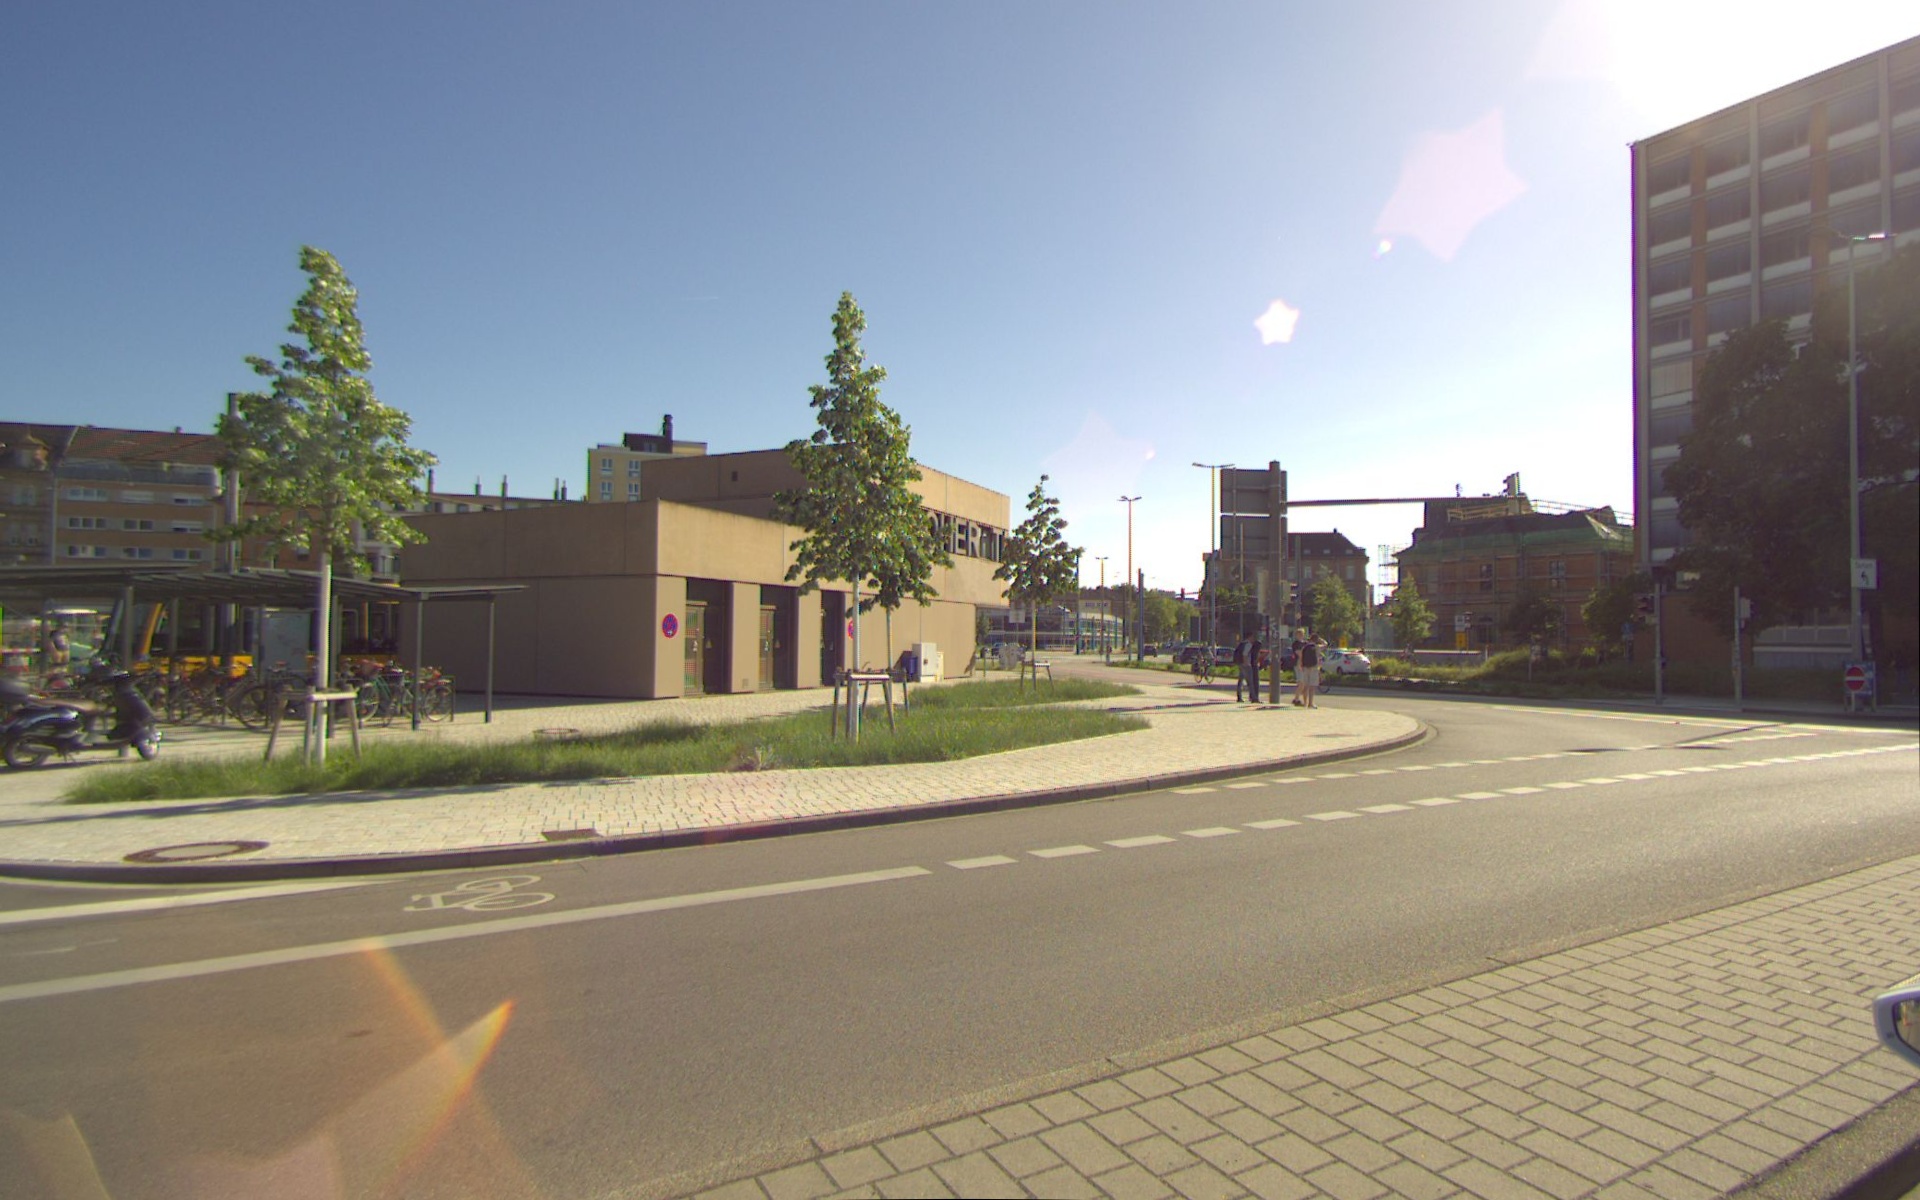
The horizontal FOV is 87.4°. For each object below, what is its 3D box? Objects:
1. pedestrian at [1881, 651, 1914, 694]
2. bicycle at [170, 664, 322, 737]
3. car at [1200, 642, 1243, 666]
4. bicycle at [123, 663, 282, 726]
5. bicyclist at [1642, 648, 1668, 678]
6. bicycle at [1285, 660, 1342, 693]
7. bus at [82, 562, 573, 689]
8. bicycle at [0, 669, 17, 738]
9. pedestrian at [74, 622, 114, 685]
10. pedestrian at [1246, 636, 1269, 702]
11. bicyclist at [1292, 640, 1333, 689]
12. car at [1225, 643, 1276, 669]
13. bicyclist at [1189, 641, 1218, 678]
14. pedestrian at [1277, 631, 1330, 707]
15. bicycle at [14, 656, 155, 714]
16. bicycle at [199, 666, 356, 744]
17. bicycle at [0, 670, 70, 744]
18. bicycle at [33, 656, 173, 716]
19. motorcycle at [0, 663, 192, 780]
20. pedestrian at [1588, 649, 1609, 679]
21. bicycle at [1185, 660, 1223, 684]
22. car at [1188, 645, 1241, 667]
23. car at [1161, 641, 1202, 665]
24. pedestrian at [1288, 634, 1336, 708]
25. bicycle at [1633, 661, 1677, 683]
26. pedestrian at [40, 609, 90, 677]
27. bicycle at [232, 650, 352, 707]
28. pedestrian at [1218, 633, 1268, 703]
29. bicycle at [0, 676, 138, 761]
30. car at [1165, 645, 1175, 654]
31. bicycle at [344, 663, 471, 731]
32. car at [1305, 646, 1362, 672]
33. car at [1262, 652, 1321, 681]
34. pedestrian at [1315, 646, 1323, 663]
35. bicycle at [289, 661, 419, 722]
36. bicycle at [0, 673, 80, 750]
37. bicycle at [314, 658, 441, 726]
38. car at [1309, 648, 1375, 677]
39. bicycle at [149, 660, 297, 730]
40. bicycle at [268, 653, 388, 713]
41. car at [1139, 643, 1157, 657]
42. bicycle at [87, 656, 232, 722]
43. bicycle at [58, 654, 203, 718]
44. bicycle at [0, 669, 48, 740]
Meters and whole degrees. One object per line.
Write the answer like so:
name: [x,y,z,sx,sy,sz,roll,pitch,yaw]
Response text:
pedestrian: [36.803,2.843,39.456,0.588,1.624,0.737,1,-2,-16]
bicycle: [-11.947,1.655,16.889,0.524,1.051,2.070,2,0,26]
car: [19.622,4.034,75.506,1.809,1.653,4.386,1,-2,-4]
bicycle: [-13.705,1.678,18.261,0.673,0.956,2.233,2,0,25]
bicyclist: [34.146,3.084,49.377,0.587,1.448,0.939,1,-2,-6]
bicycle: [11.250,2.430,32.068,0.729,1.008,1.985,1,-4,-15]
bus: [-18.411,0.873,31.399,2.810,3.112,13.620,0,-2,25]
bicycle: [-14.714,1.541,14.425,0.399,0.985,1.683,2,0,22]
pedestrian: [-28.641,1.768,33.216,0.526,2.040,0.803,0,-2,23]
pedestrian: [8.017,1.851,27.075,0.585,1.751,0.580,0,-2,14]
bicyclist: [11.247,2.066,32.082,0.729,1.519,1.069,1,-4,-14]
car: [20.042,3.839,69.433,1.810,1.653,4.382,1,-2,-8]
bicyclist: [9.828,2.413,40.578,0.675,1.440,1.125,1,-4,-13]
pedestrian: [8.474,1.708,24.813,1.081,1.822,0.706,1,-4,2]
bicycle: [-17.768,1.698,20.457,0.524,1.051,2.070,5,0,26]
bicycle: [-10.899,1.650,16.134,0.524,1.051,2.070,2,0,26]
bicycle: [-13.692,1.532,14.174,0.399,0.985,1.683,2,0,22]
bicycle: [-16.880,1.677,19.849,0.524,1.051,2.070,-2,-2,26]
motorcycle: [-10.845,1.447,12.477,0.558,1.235,2.087,0,-1,21]
pedestrian: [34.649,3.470,54.487,0.549,1.592,0.862,1,-2,-5]
bicycle: [9.826,2.894,40.542,0.675,0.930,1.986,1,-4,-13]
car: [17.272,3.764,68.326,1.810,1.406,4.895,1,-2,-8]
car: [16.525,3.938,75.125,1.809,1.653,4.386,1,-2,-4]
pedestrian: [8.417,1.701,24.028,0.775,1.711,0.794,2,-5,-11]
bicycle: [34.139,3.515,49.372,0.587,0.976,2.082,1,-2,-5]
pedestrian: [-26.089,1.249,29.290,0.755,1.942,0.803,0,-2,23]
bicycle: [-13.913,1.615,20.993,0.524,1.051,2.070,2,0,26]
pedestrian: [7.166,1.733,25.458,0.831,1.711,0.896,5,-5,-34]
bicycle: [-12.199,1.574,13.578,0.399,0.985,1.683,2,0,22]
car: [48.917,11.556,234.459,1.959,2.040,4.003,0,-2,7]
bicycle: [-9.949,1.722,18.190,0.524,1.051,2.070,2,0,26]
car: [26.001,4.071,70.128,1.809,1.653,4.836,1,-2,-6]
car: [20.702,4.133,62.889,1.810,1.653,4.382,1,-2,-8]
pedestrian: [37.570,5.738,105.047,0.645,1.758,0.680,0,-2,1]
bicycle: [-11.759,1.744,19.572,0.679,1.011,2.140,2,0,26]
bicycle: [-13.226,1.544,13.813,0.399,0.985,1.683,2,0,22]
bicycle: [-10.793,1.683,18.699,0.594,1.093,2.053,2,0,25]
car: [21.230,3.446,55.930,1.711,1.454,3.843,1,-2,-10]
bicycle: [-12.895,1.630,17.657,0.524,1.051,2.070,2,0,26]
bicycle: [-12.739,1.648,20.328,0.524,1.051,2.070,2,0,26]
car: [23.607,6.307,126.189,1.807,1.653,4.390,0,-2,6]
bicycle: [-15.013,1.641,18.906,0.524,1.051,2.070,5,1,26]
bicycle: [-15.898,1.624,19.320,0.524,1.051,2.070,5,1,26]
bicycle: [-14.196,1.526,14.376,0.399,0.985,1.683,2,0,22]
